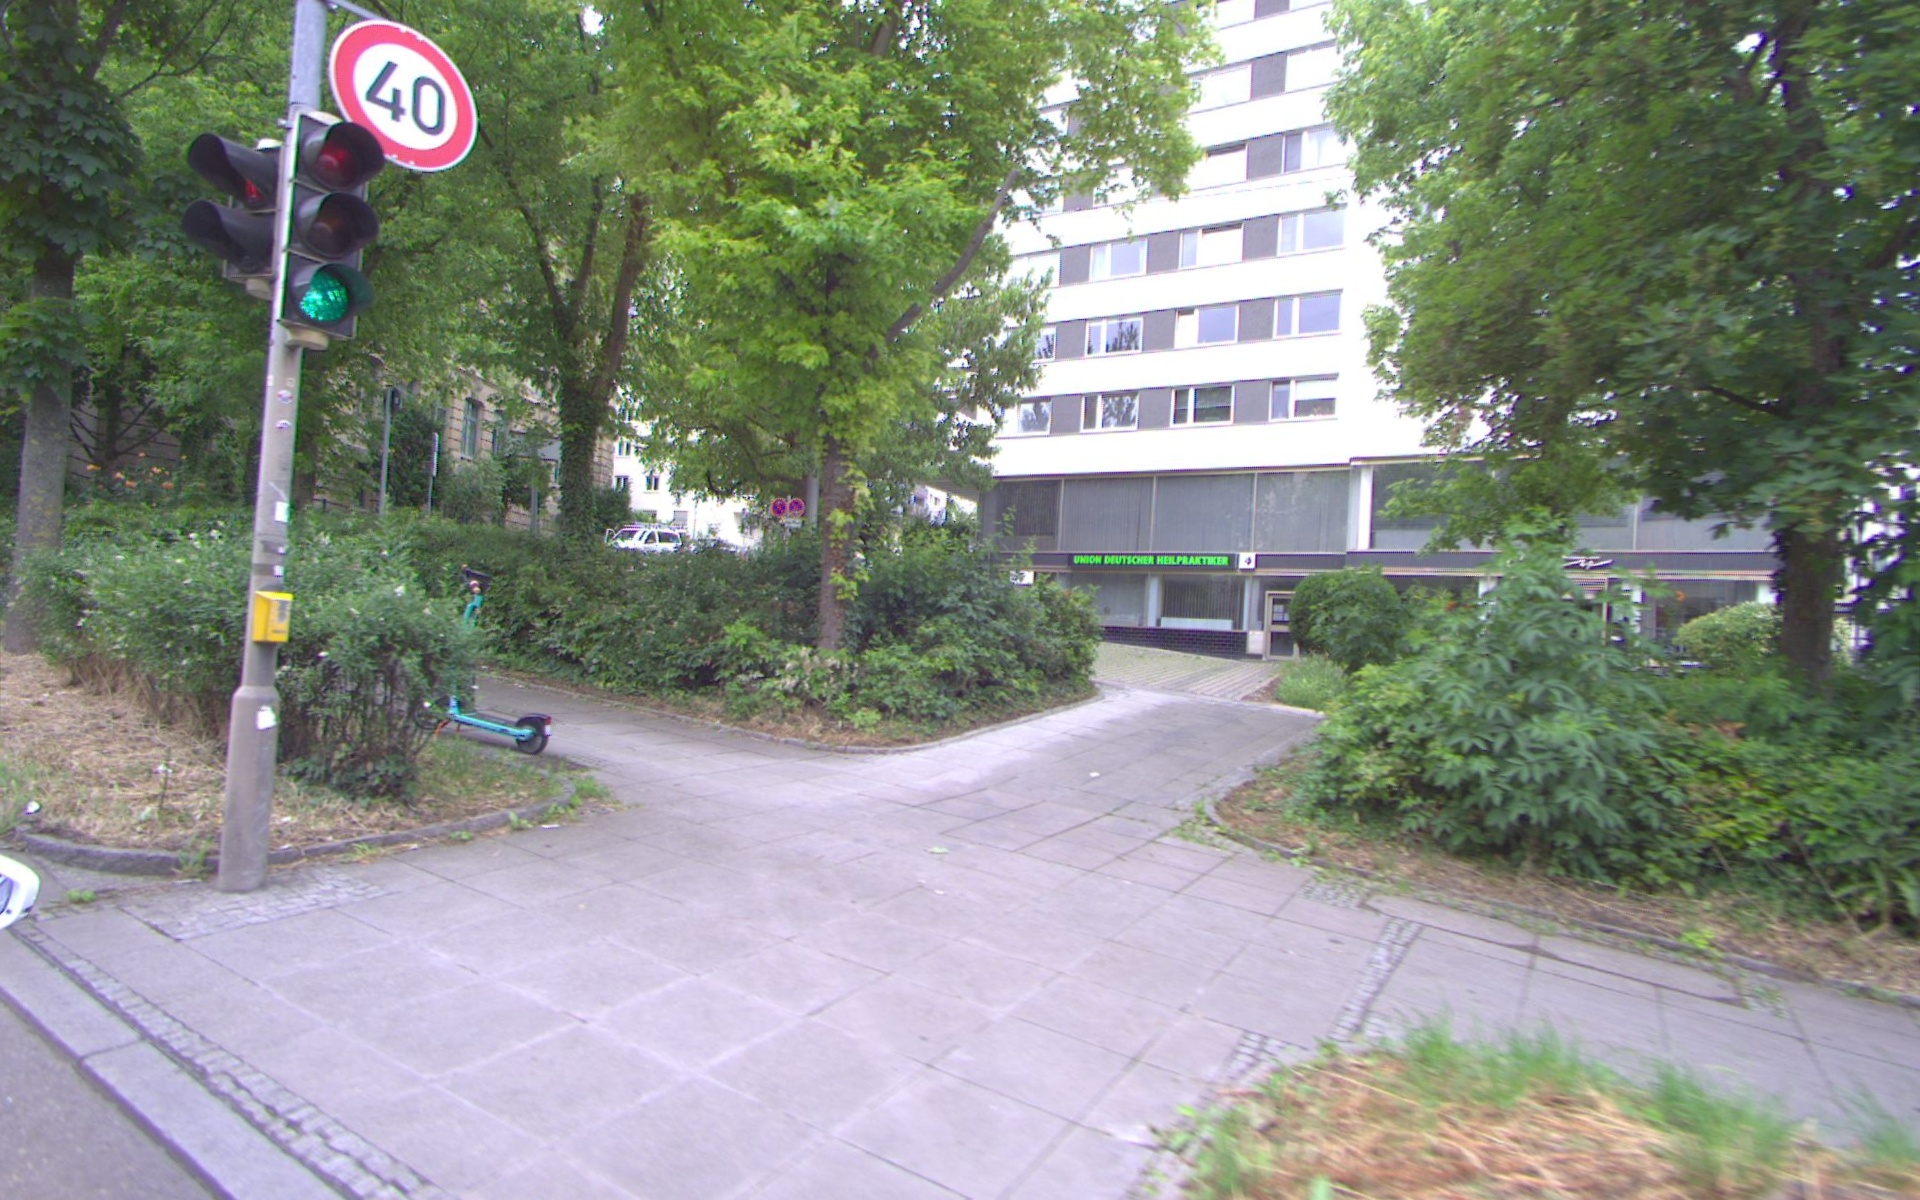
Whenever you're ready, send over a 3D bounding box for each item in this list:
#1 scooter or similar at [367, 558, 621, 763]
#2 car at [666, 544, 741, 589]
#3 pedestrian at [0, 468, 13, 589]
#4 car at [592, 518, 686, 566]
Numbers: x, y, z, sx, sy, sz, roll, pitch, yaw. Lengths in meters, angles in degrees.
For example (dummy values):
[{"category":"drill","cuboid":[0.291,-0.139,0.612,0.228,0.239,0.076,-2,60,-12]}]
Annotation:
[{"category":"scooter or similar","cuboid":[-3.312,0.404,7.164,1.528,1.225,0.632,6,0,19]},{"category":"car","cuboid":[-13.821,-1.756,54.535,1.961,1.774,4.898,5,-3,10]},{"category":"pedestrian","cuboid":[-14.297,-1.082,14.418,0.772,1.724,0.772,6,0,32]},{"category":"car","cuboid":[-15.476,-2.768,48.894,2.136,1.959,5.215,4,1,10]}]
